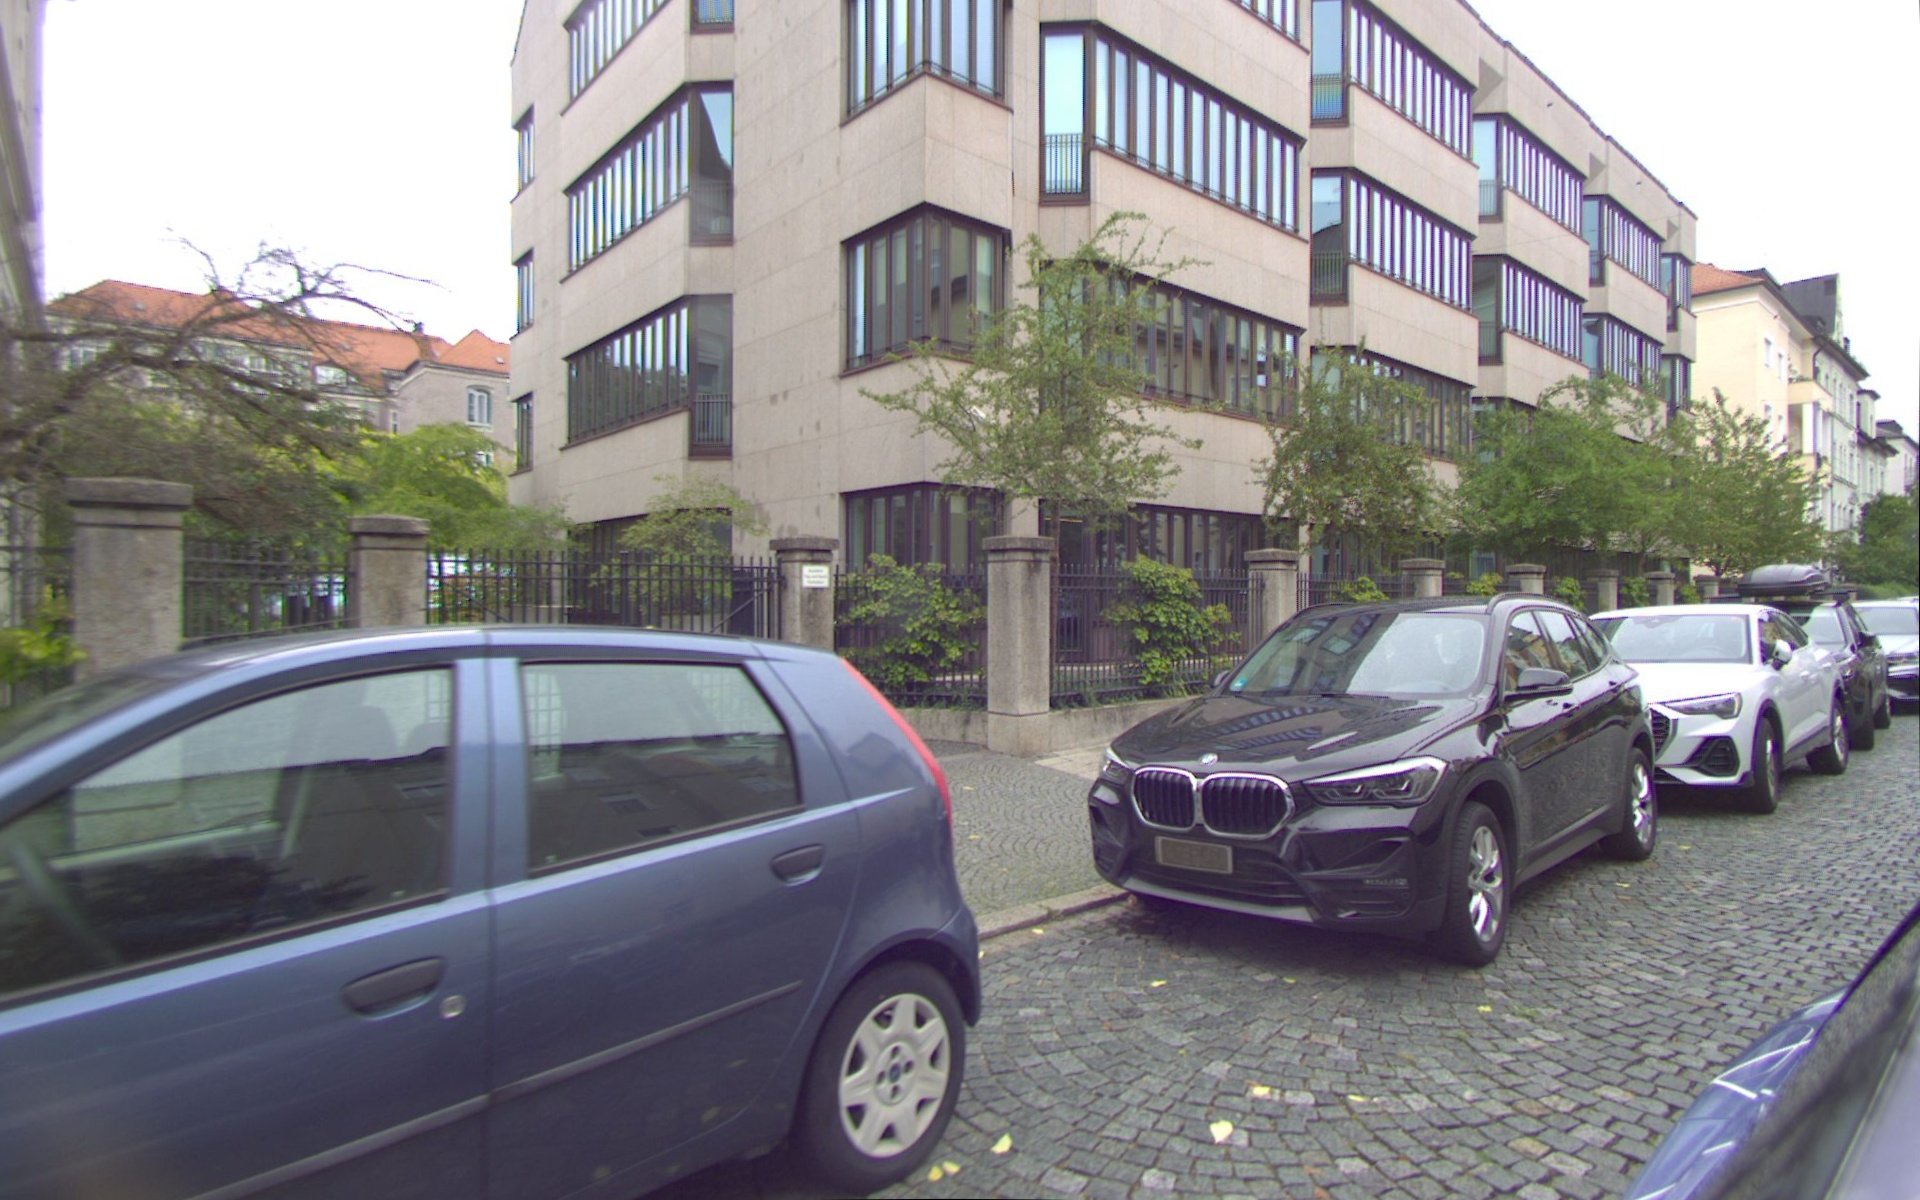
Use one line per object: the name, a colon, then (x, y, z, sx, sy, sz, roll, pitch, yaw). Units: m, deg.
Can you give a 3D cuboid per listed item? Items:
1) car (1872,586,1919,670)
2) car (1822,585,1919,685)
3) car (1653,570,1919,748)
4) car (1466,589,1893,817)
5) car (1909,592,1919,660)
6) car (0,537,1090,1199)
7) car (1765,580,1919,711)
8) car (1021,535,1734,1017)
car: (22.543, 0.592, 23.283, 4.432, 1.820, 1.790, 0, -3, -42)
car: (18.287, 0.630, 19.484, 4.578, 1.758, 1.875, 0, -3, -42)
car: (10.171, 0.628, 12.283, 4.667, 1.757, 1.874, 0, -3, -43)
car: (6.449, 0.724, 8.869, 4.533, 1.510, 1.877, 1, -2, -39)
car: (26.663, 0.632, 26.686, 4.729, 1.724, 1.863, 0, -3, -41)
car: (-1.614, 0.672, 2.298, 1.694, 1.459, 3.996, -3, -2, 45)
car: (14.213, 0.618, 15.564, 4.804, 1.757, 1.876, 0, -2, -40)
car: (2.651, 0.646, 5.790, 4.575, 1.691, 1.876, 0, -2, -41)
